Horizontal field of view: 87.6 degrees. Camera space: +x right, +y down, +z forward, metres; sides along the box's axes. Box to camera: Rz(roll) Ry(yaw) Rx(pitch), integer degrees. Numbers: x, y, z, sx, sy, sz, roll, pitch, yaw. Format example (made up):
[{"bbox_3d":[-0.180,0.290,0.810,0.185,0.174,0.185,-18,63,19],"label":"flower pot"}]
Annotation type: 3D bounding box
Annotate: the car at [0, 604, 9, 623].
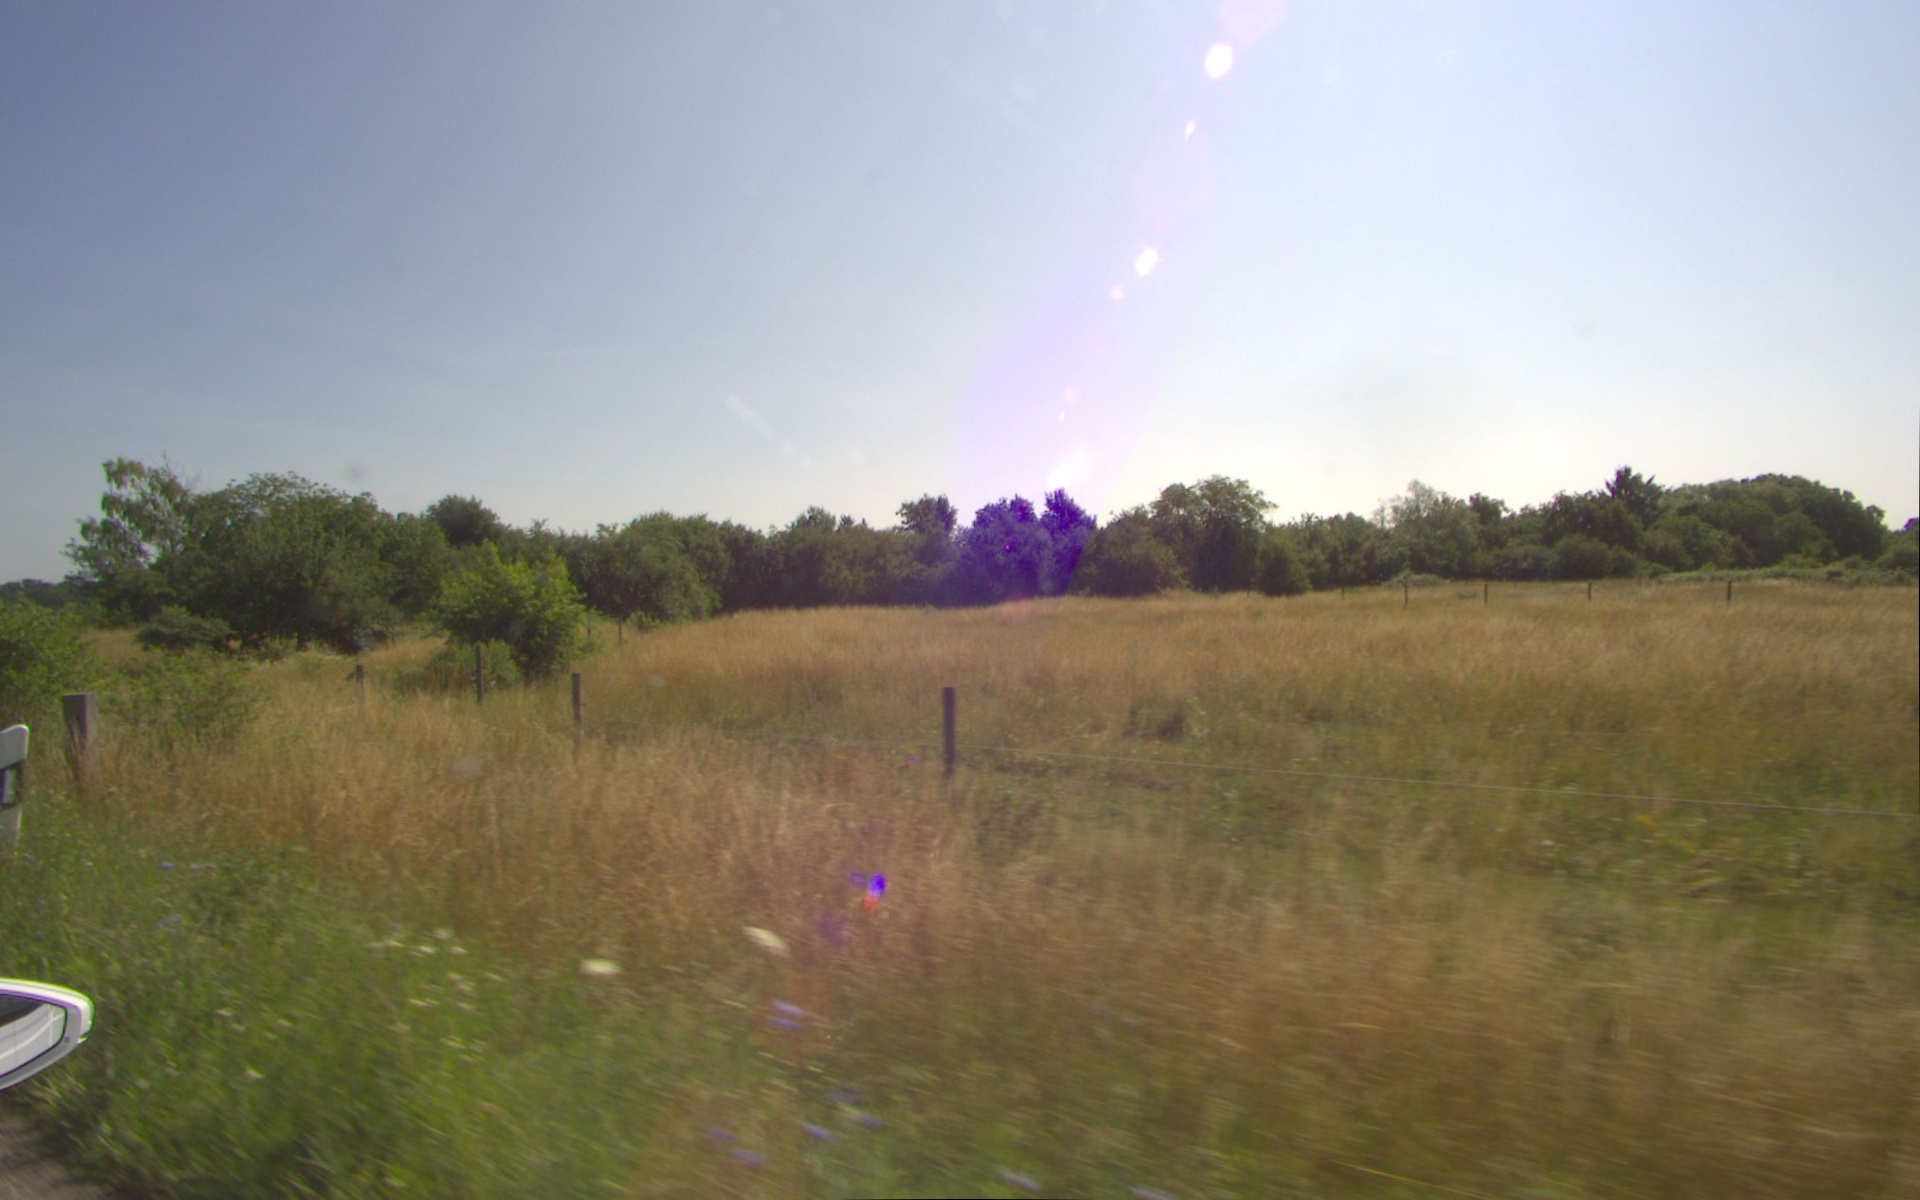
[{"bbox_3d":[-98.707,1.382,102.408,4.118,1.825,1.951,-3,-2,44],"label":"car"}]
